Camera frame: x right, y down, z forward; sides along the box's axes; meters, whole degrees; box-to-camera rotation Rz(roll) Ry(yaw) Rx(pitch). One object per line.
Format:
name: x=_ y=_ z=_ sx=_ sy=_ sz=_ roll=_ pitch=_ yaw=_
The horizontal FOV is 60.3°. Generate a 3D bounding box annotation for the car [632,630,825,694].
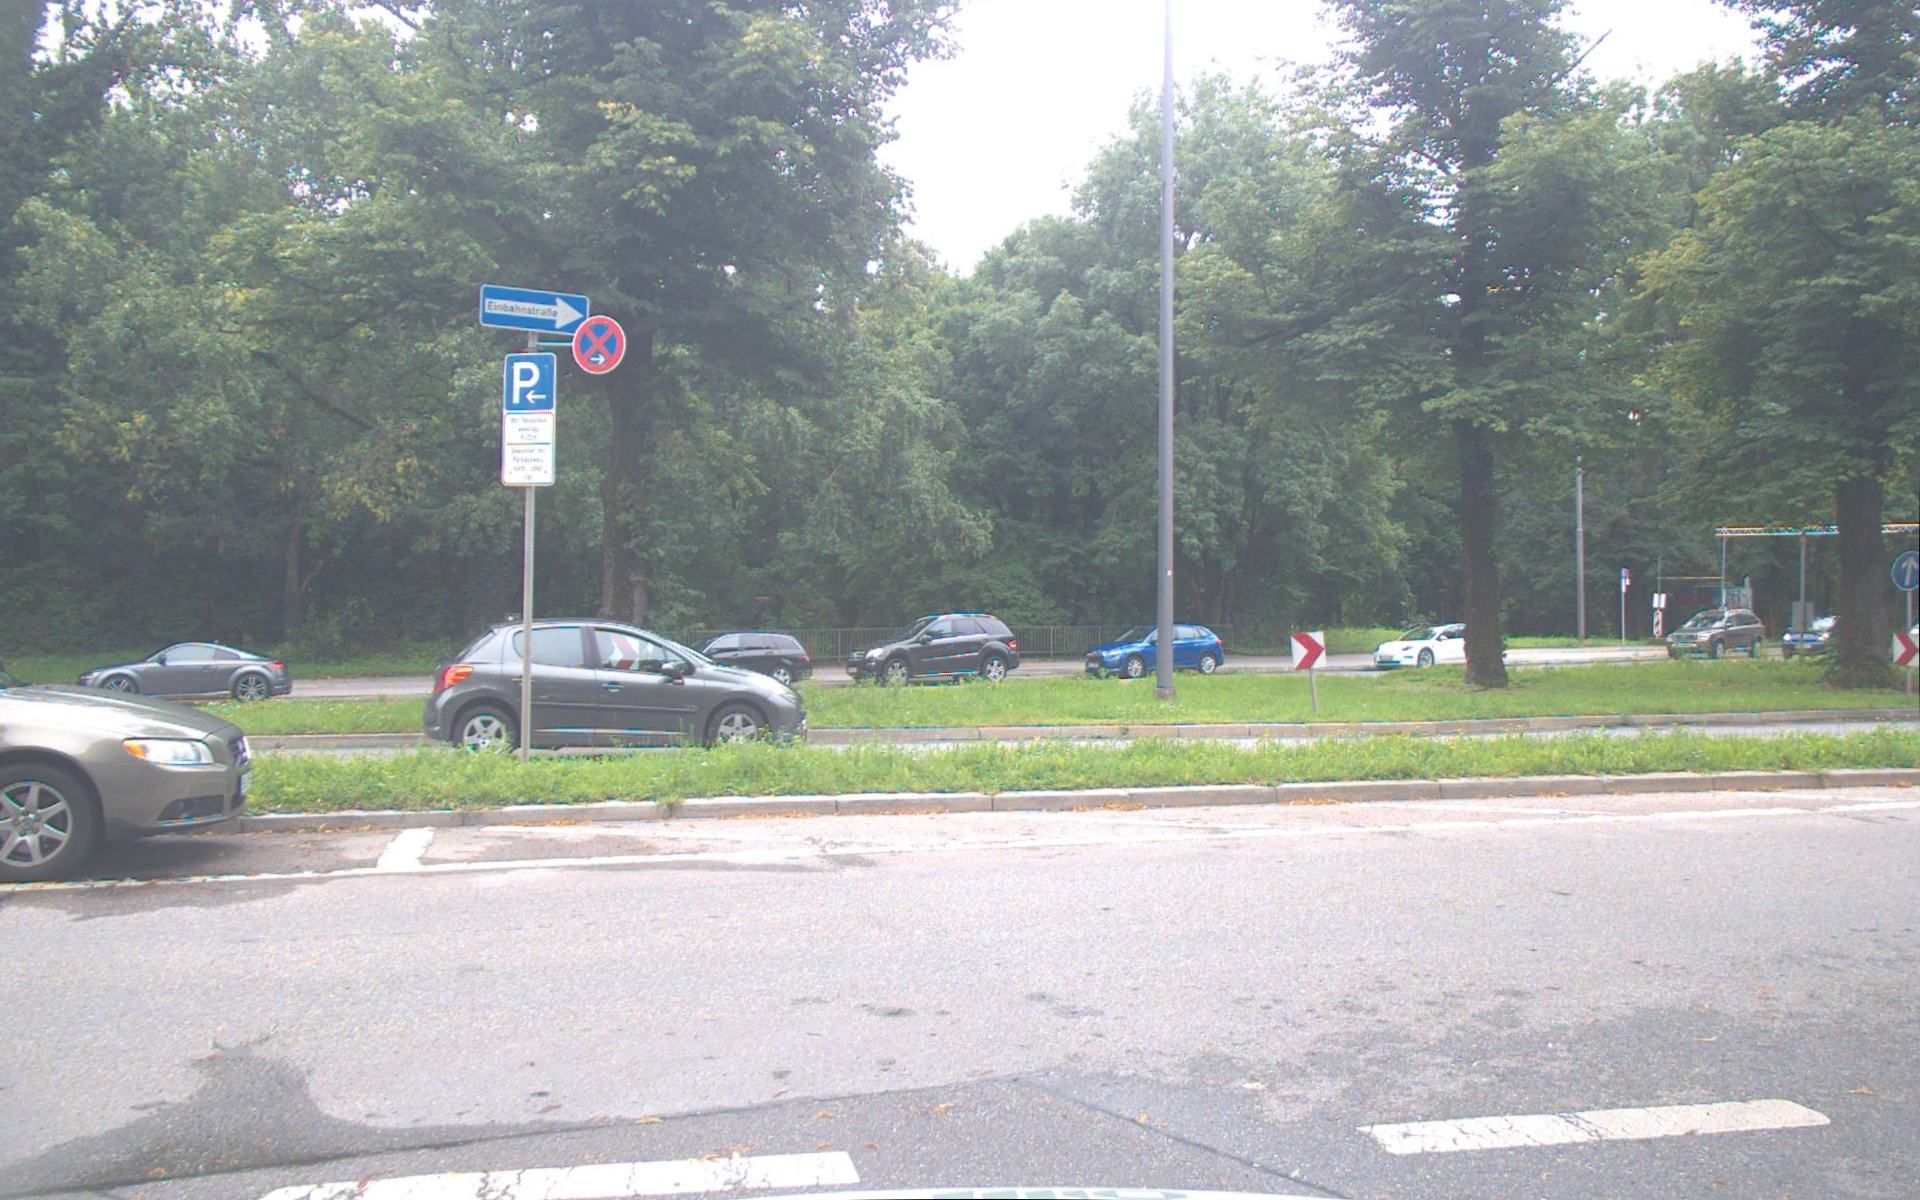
car: x=-5.614 y=1.485 z=40.180 sx=4.260 sy=1.472 sz=1.979 roll=1 pitch=-2 yaw=-31

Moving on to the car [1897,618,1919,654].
car: x=40.998 y=1.490 z=69.112 sx=4.195 sy=1.472 sz=1.807 roll=1 pitch=-2 yaw=-39

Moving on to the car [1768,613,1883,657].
car: x=30.486 y=1.217 z=58.243 sx=3.981 sy=1.472 sz=1.876 roll=0 pitch=-1 yaw=-32

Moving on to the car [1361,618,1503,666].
car: x=15.051 y=1.351 z=52.708 sx=4.366 sy=1.472 sz=1.978 roll=1 pitch=-2 yaw=-32

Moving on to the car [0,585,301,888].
car: x=-6.349 y=0.722 z=9.314 sx=4.677 sy=1.592 sz=1.897 roll=0 pitch=-1 yaw=-16

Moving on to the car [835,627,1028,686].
car: x=-0.713 y=1.446 z=43.001 sx=4.705 sy=1.472 sz=1.979 roll=1 pitch=-2 yaw=-31

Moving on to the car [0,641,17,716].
car: x=-21.162 y=1.549 z=32.399 sx=4.453 sy=1.472 sz=1.984 roll=0 pitch=-2 yaw=-25

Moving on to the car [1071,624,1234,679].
car: x=5.485 y=1.454 z=47.067 sx=4.366 sy=1.472 sz=1.978 roll=1 pitch=-2 yaw=-32

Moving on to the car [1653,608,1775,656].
car: x=28.202 y=1.210 z=61.837 sx=4.588 sy=1.748 sz=1.978 roll=1 pitch=-2 yaw=-32

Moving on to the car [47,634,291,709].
car: x=-16.398 y=1.451 z=34.498 sx=4.453 sy=1.472 sz=1.984 roll=0 pitch=-2 yaw=-25

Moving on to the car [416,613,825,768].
car: x=-3.543 y=0.900 z=17.347 sx=3.994 sy=1.486 sz=1.757 roll=0 pitch=-1 yaw=-16
